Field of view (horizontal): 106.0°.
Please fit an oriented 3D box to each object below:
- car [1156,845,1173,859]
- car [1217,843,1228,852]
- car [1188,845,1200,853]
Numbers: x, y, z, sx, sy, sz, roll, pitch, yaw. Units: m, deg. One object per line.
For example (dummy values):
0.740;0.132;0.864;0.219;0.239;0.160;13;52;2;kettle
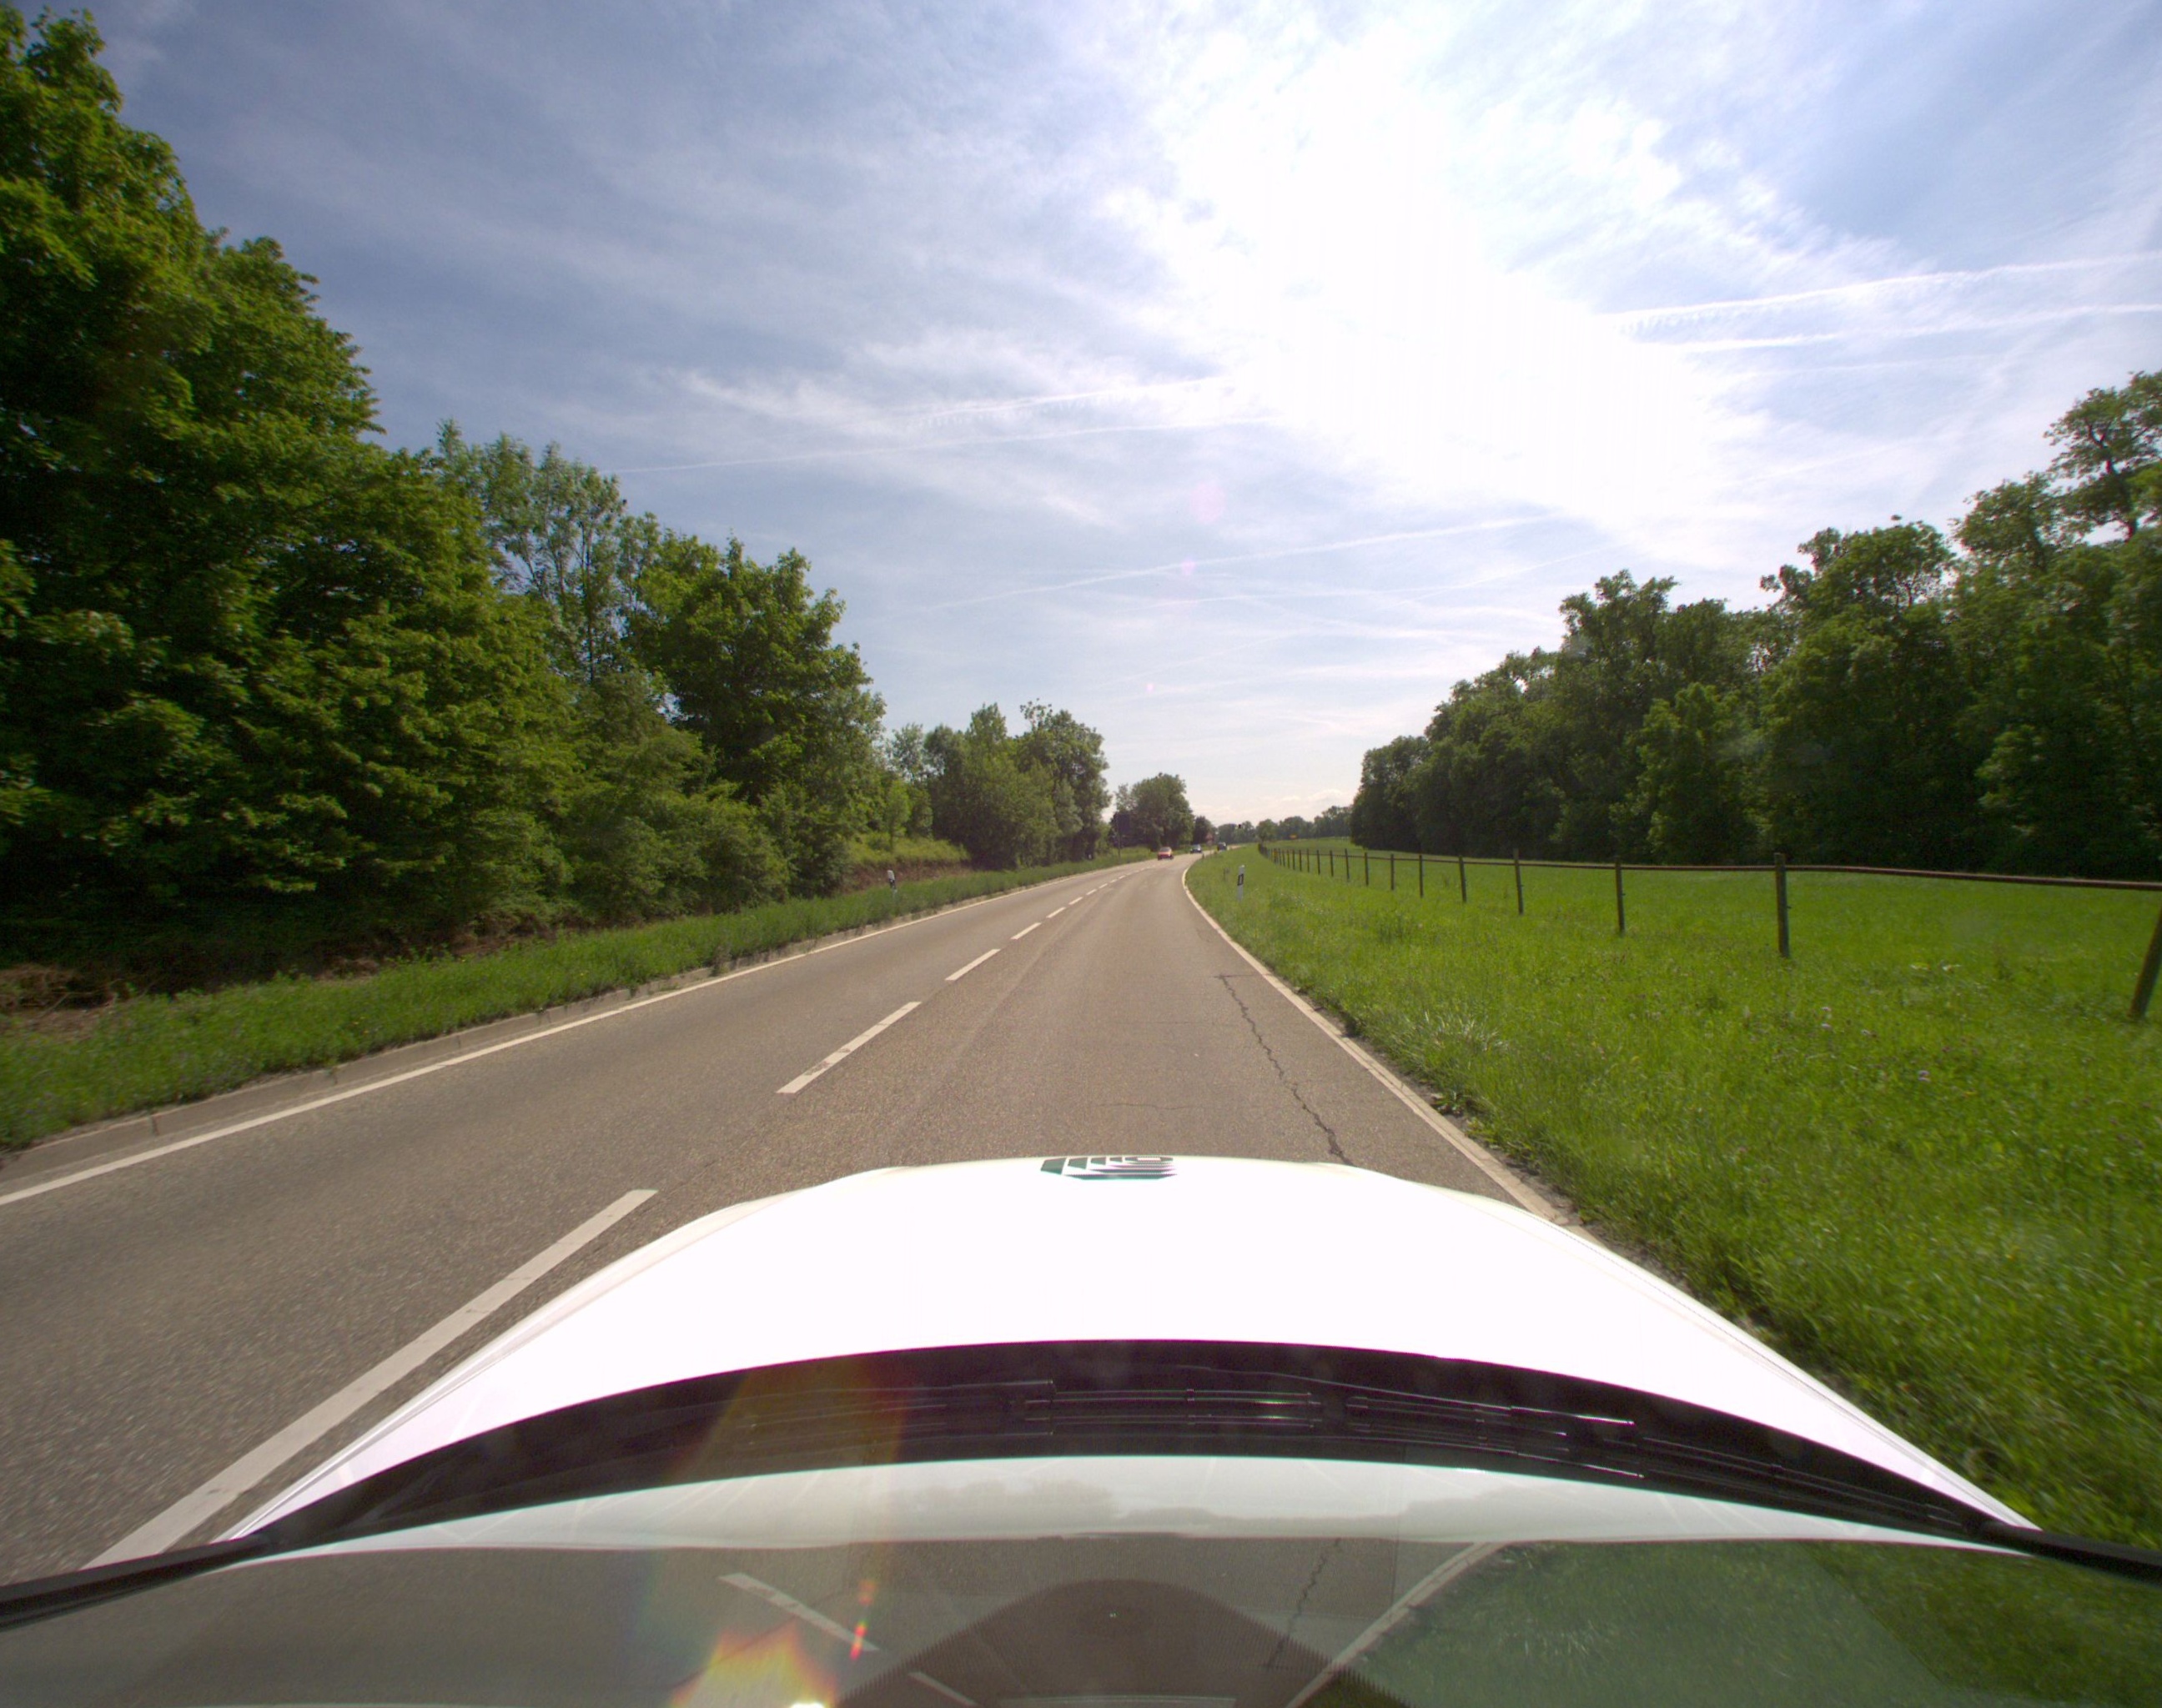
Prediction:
9.469;-0.215;91.907;1.811;1.469;4.009;-1;0;8;car
27.604;-1.274;159.020;1.980;1.574;4.013;-1;0;12;car
19.415;-0.861;139.765;1.809;1.469;4.012;-1;0;10;car
